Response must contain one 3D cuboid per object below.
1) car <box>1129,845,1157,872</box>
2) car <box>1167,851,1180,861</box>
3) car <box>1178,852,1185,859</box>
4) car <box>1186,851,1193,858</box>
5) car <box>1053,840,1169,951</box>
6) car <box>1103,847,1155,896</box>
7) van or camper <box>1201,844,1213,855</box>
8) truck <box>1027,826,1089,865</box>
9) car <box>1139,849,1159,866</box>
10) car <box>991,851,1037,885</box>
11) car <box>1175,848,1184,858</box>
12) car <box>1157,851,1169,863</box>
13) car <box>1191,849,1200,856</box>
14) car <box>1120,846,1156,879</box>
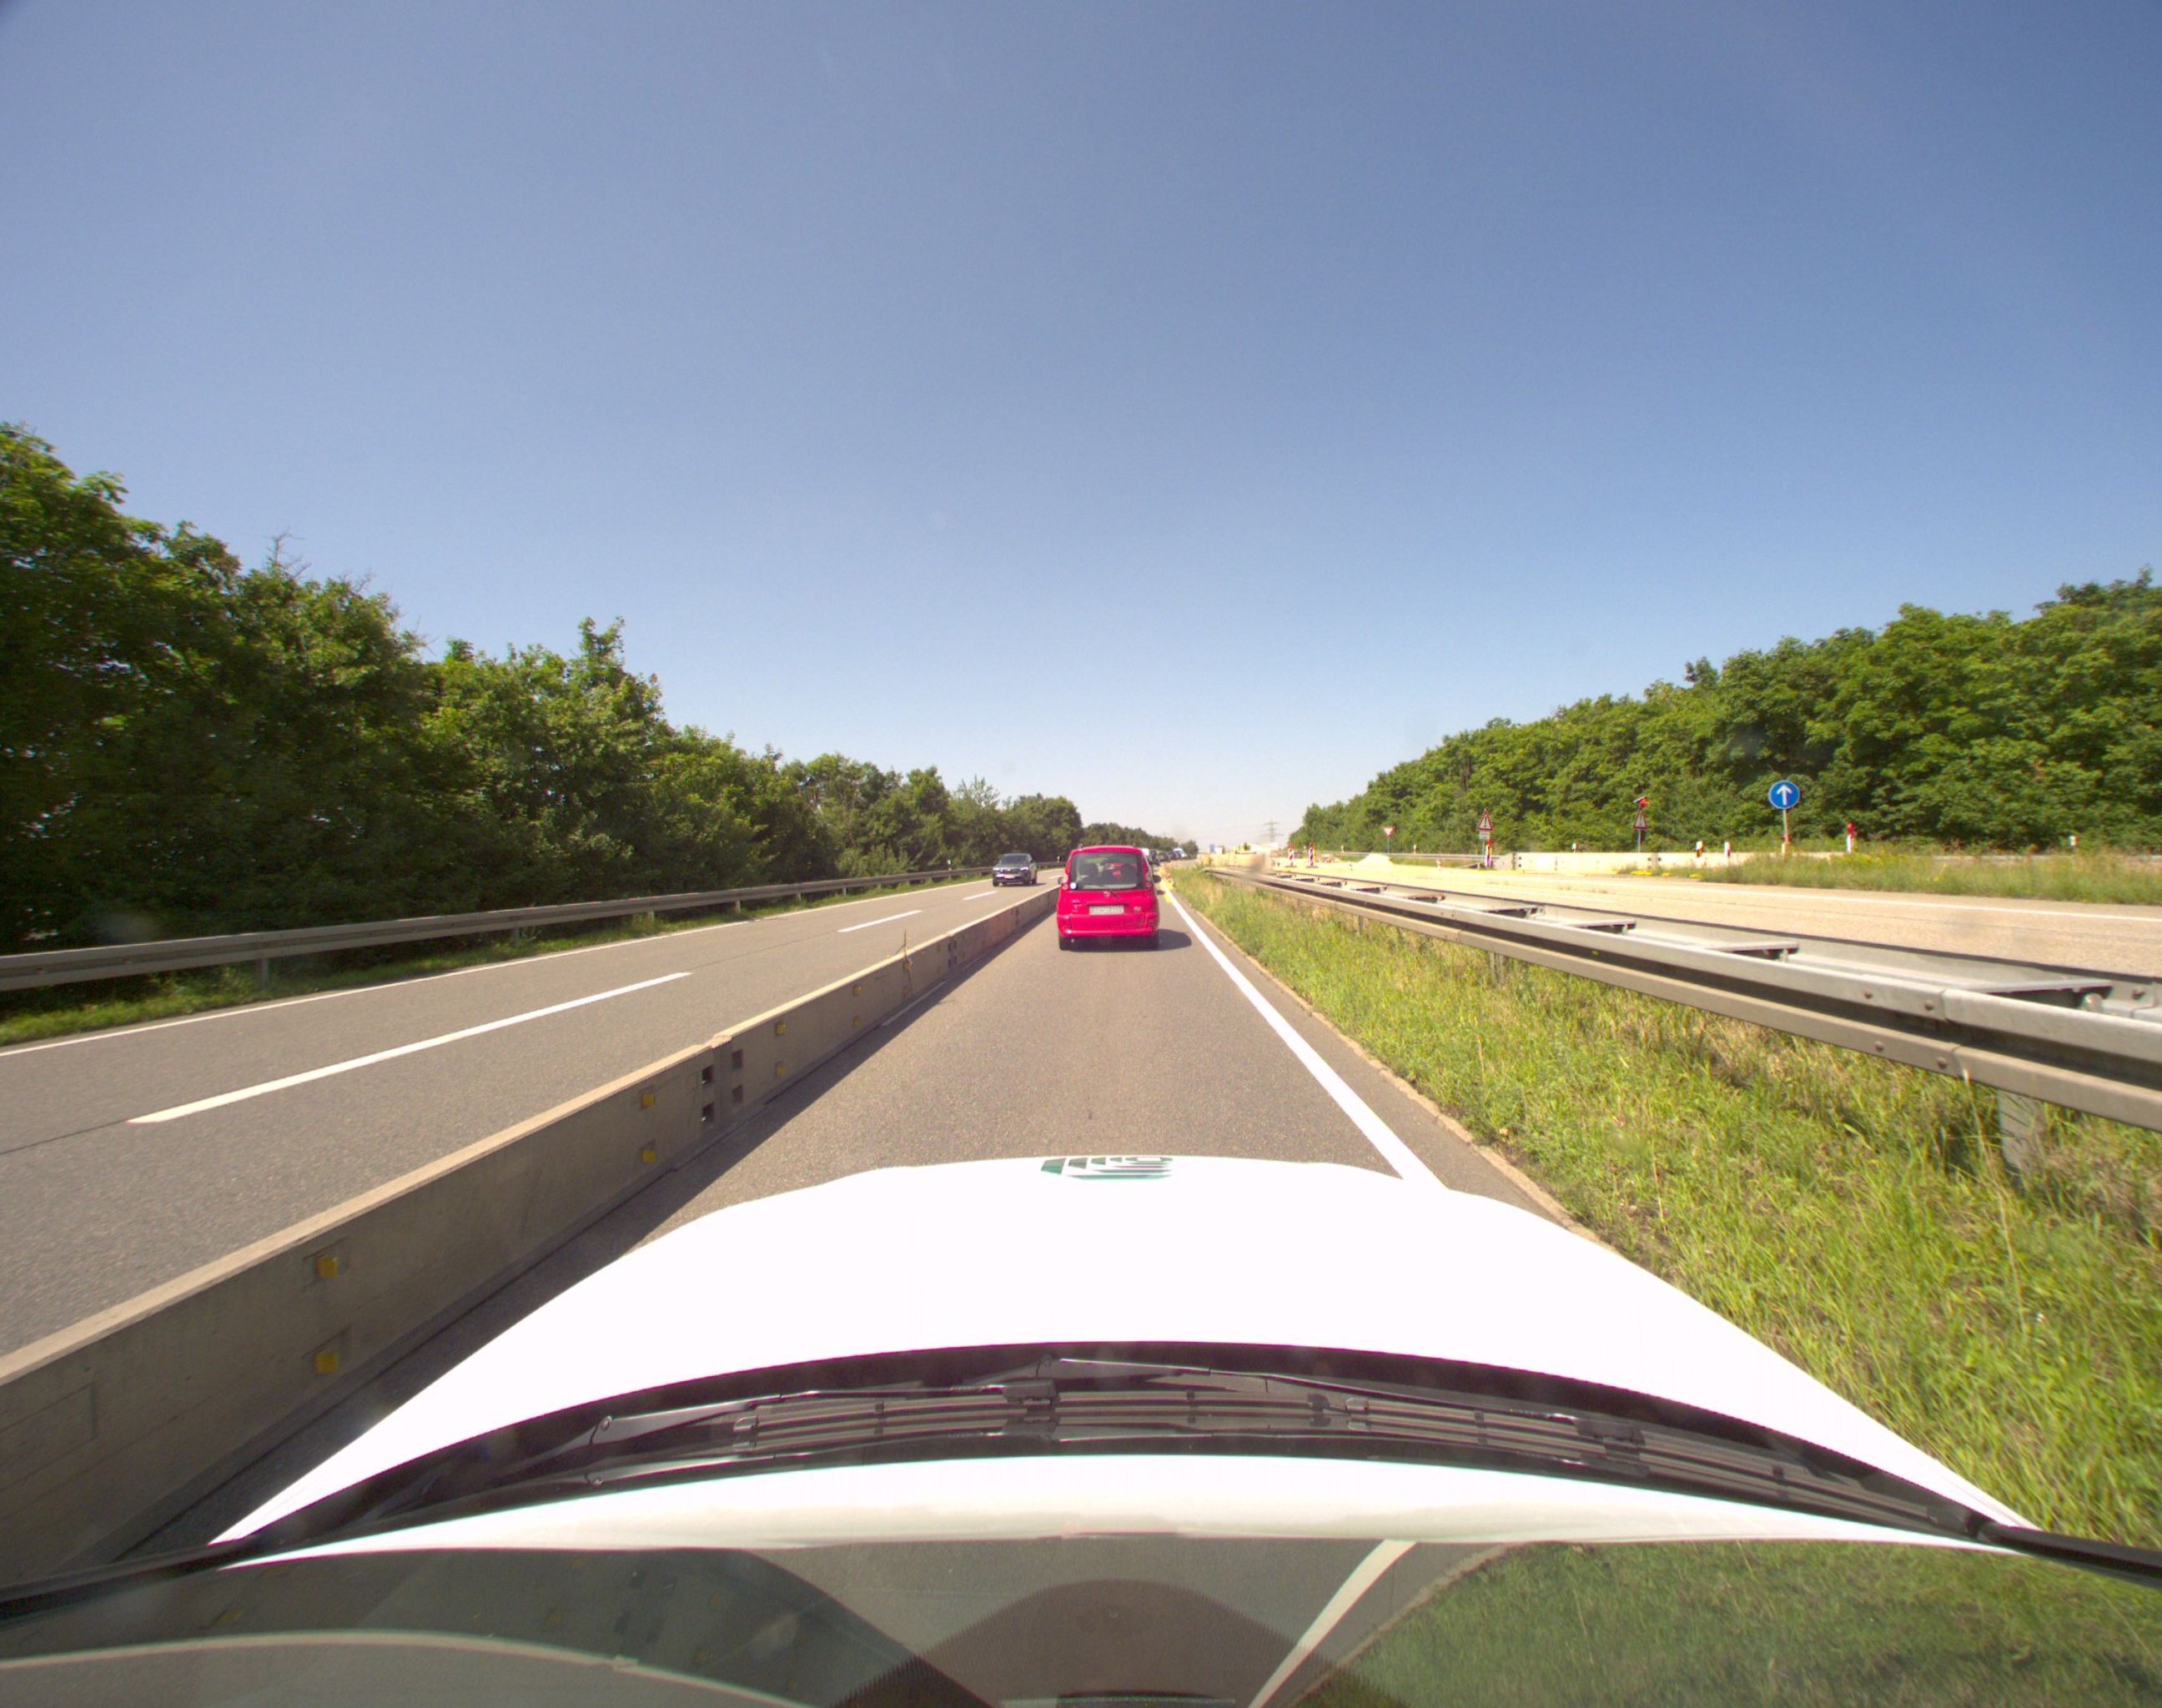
[{"bbox_3d":[4.842,0.341,64.213,1.986,2.003,4.002,-1,0,2],"label":"car"},{"bbox_3d":[15.502,0.310,136.126,1.983,1.585,4.008,-1,0,7],"label":"car"},{"bbox_3d":[20.339,0.356,165.374,1.414,1.298,2.884,-2,0,6],"label":"car"},{"bbox_3d":[23.848,0.097,179.366,1.494,1.450,3.175,-1,0,6],"label":"car"},{"bbox_3d":[0.541,0.639,14.502,1.745,1.673,4.002,-1,0,2],"label":"car"},{"bbox_3d":[1.832,0.608,30.916,1.822,1.722,4.004,-1,0,4],"label":"car"},{"bbox_3d":[30.933,-1.115,200.300,2.319,2.707,4.595,-2,0,1],"label":"van or camper"},{"bbox_3d":[-3.402,-1.239,121.419,8.579,5.375,3.394,-2,0,5],"label":"truck"},{"bbox_3d":[7.223,0.392,86.353,1.984,1.750,4.005,-1,0,4],"label":"car"},{"bbox_3d":[-3.339,0.680,41.376,1.850,1.638,4.386,-1,0,2],"label":"car"},{"bbox_3d":[17.997,-0.241,149.076,1.495,1.736,3.173,-3,0,4],"label":"car"},{"bbox_3d":[11.279,0.415,111.938,1.495,1.450,3.328,-3,0,4],"label":"car"},{"bbox_3d":[28.650,-0.307,203.434,1.985,1.552,4.004,-2,0,3],"label":"car"},{"bbox_3d":[3.366,0.501,48.305,1.985,1.838,4.004,-1,0,3],"label":"car"}]
